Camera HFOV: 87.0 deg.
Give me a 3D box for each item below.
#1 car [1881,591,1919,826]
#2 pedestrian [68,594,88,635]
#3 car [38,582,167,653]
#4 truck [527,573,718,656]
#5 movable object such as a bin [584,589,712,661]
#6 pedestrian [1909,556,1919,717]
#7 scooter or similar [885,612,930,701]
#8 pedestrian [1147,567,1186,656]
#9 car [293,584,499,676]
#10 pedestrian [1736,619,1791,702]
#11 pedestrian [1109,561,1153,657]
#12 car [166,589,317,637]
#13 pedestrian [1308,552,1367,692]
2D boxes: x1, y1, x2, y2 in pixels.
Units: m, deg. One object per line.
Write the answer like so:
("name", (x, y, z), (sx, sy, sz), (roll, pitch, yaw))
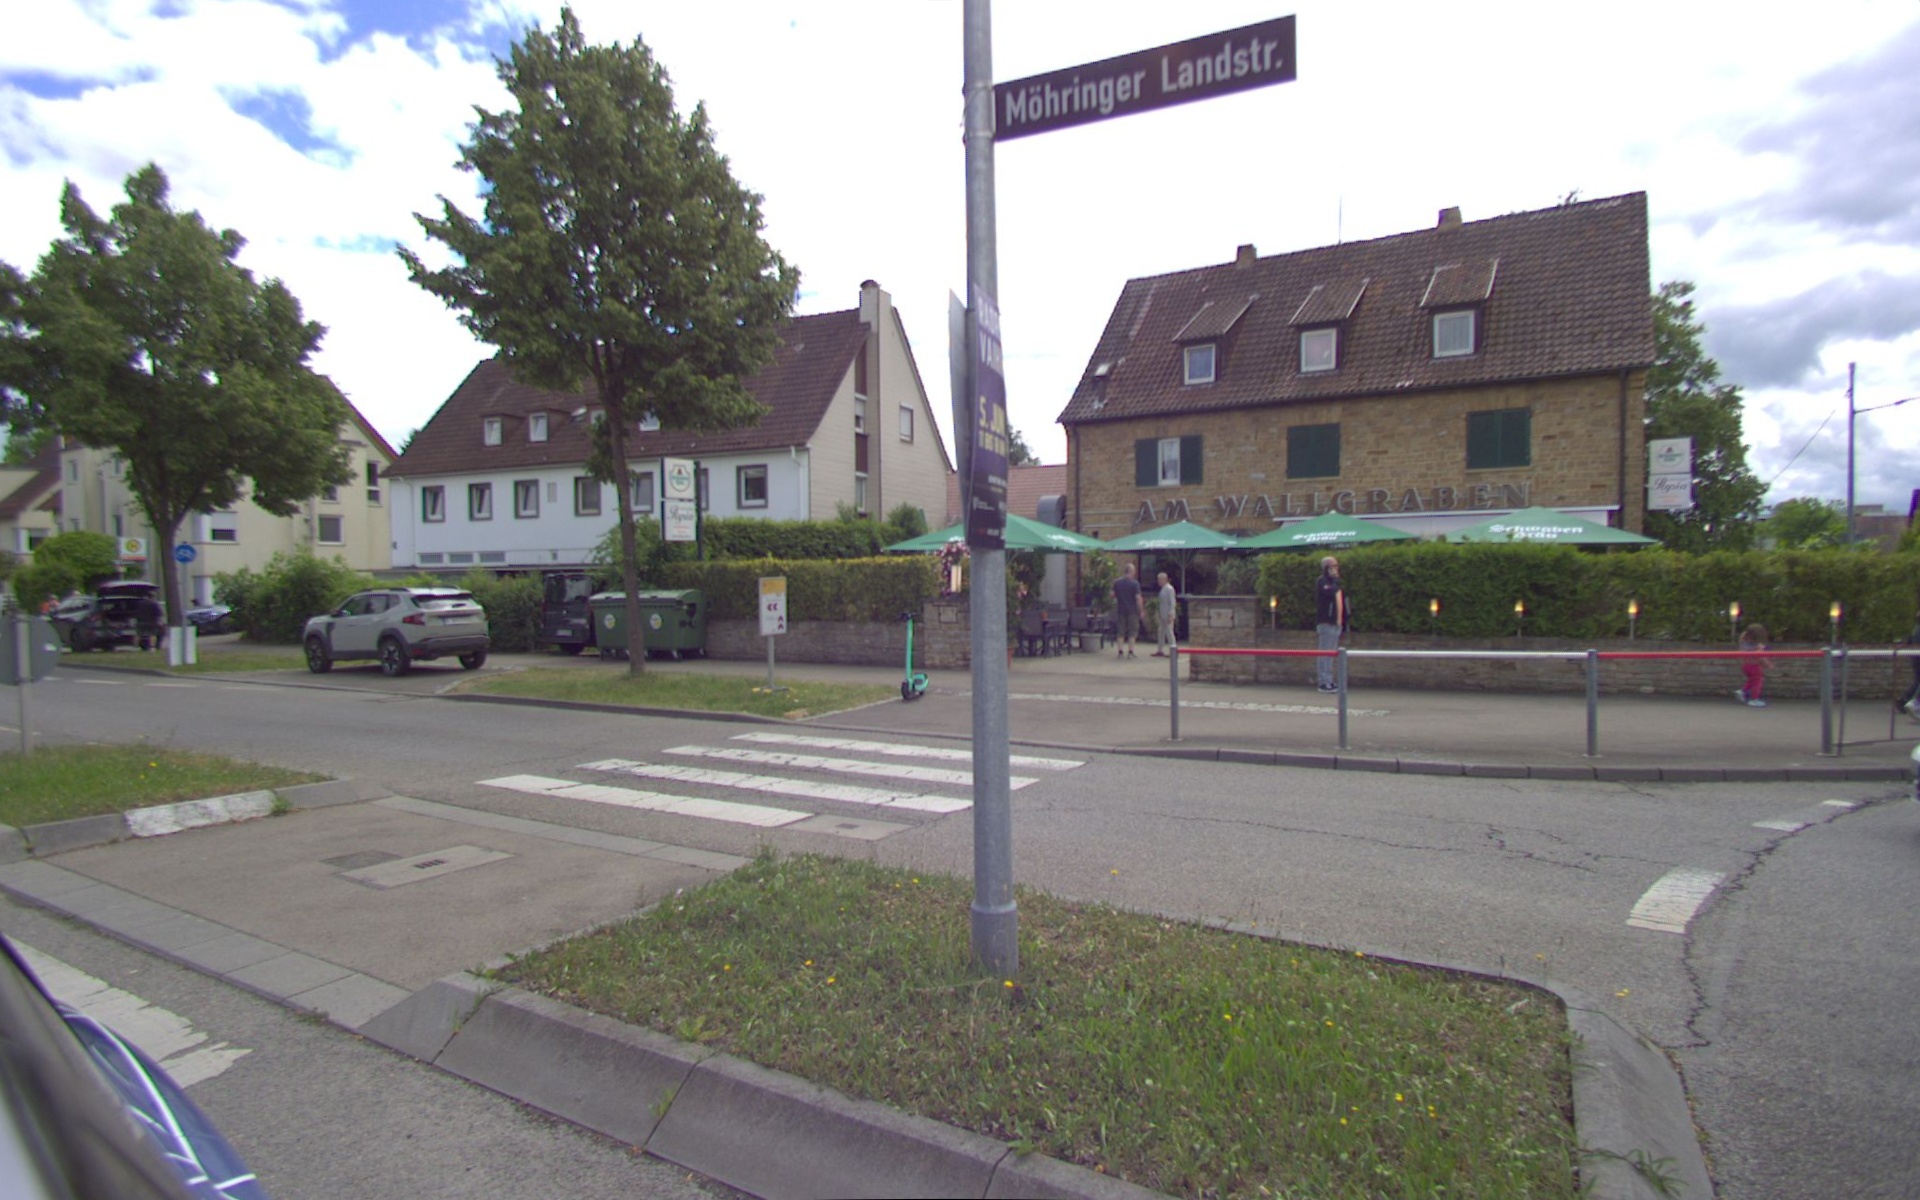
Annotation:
("car", (8.026, 0.652, 5.076), (4.655, 1.465, 1.796), (-1, 0, 20))
("pedestrian", (-30.352, 0.496, 34.823), (0.412, 1.375, 0.382), (-1, 1, 34))
("car", (-24.026, 0.459, 28.329), (4.037, 1.843, 1.732), (0, 1, 34))
("truck", (-8.192, 0.276, 25.021), (1.856, 1.864, 4.460), (-1, 1, 27))
("movable object such as a bin", (-6.553, 0.503, 21.223), (2.712, 1.427, 0.974), (-1, 1, 30))
("pedestrian", (10.076, 0.366, 10.174), (0.605, 1.646, 0.451), (-2, 0, 10))
("scooter or similar", (-0.703, 0.745, 13.795), (0.377, 1.140, 1.045), (0, 1, 10))
("pedestrian", (4.111, 0.216, 20.127), (0.482, 1.740, 0.567), (-1, 1, -41))
("car", (-11.142, 0.543, 19.937), (4.032, 1.648, 1.734), (-1, 1, 30))
("pedestrian", (9.240, 0.687, 11.645), (0.426, 0.919, 0.338), (-1, 3, 25))
("pedestrian", (3.348, 0.173, 19.844), (0.628, 1.840, 0.567), (-1, 1, -41))
("car", (-25.435, 0.432, 35.960), (1.743, 1.551, 4.012), (-1, 1, 26))
("pedestrian", (5.098, 0.283, 13.689), (0.559, 1.840, 0.637), (-1, 1, 5))
